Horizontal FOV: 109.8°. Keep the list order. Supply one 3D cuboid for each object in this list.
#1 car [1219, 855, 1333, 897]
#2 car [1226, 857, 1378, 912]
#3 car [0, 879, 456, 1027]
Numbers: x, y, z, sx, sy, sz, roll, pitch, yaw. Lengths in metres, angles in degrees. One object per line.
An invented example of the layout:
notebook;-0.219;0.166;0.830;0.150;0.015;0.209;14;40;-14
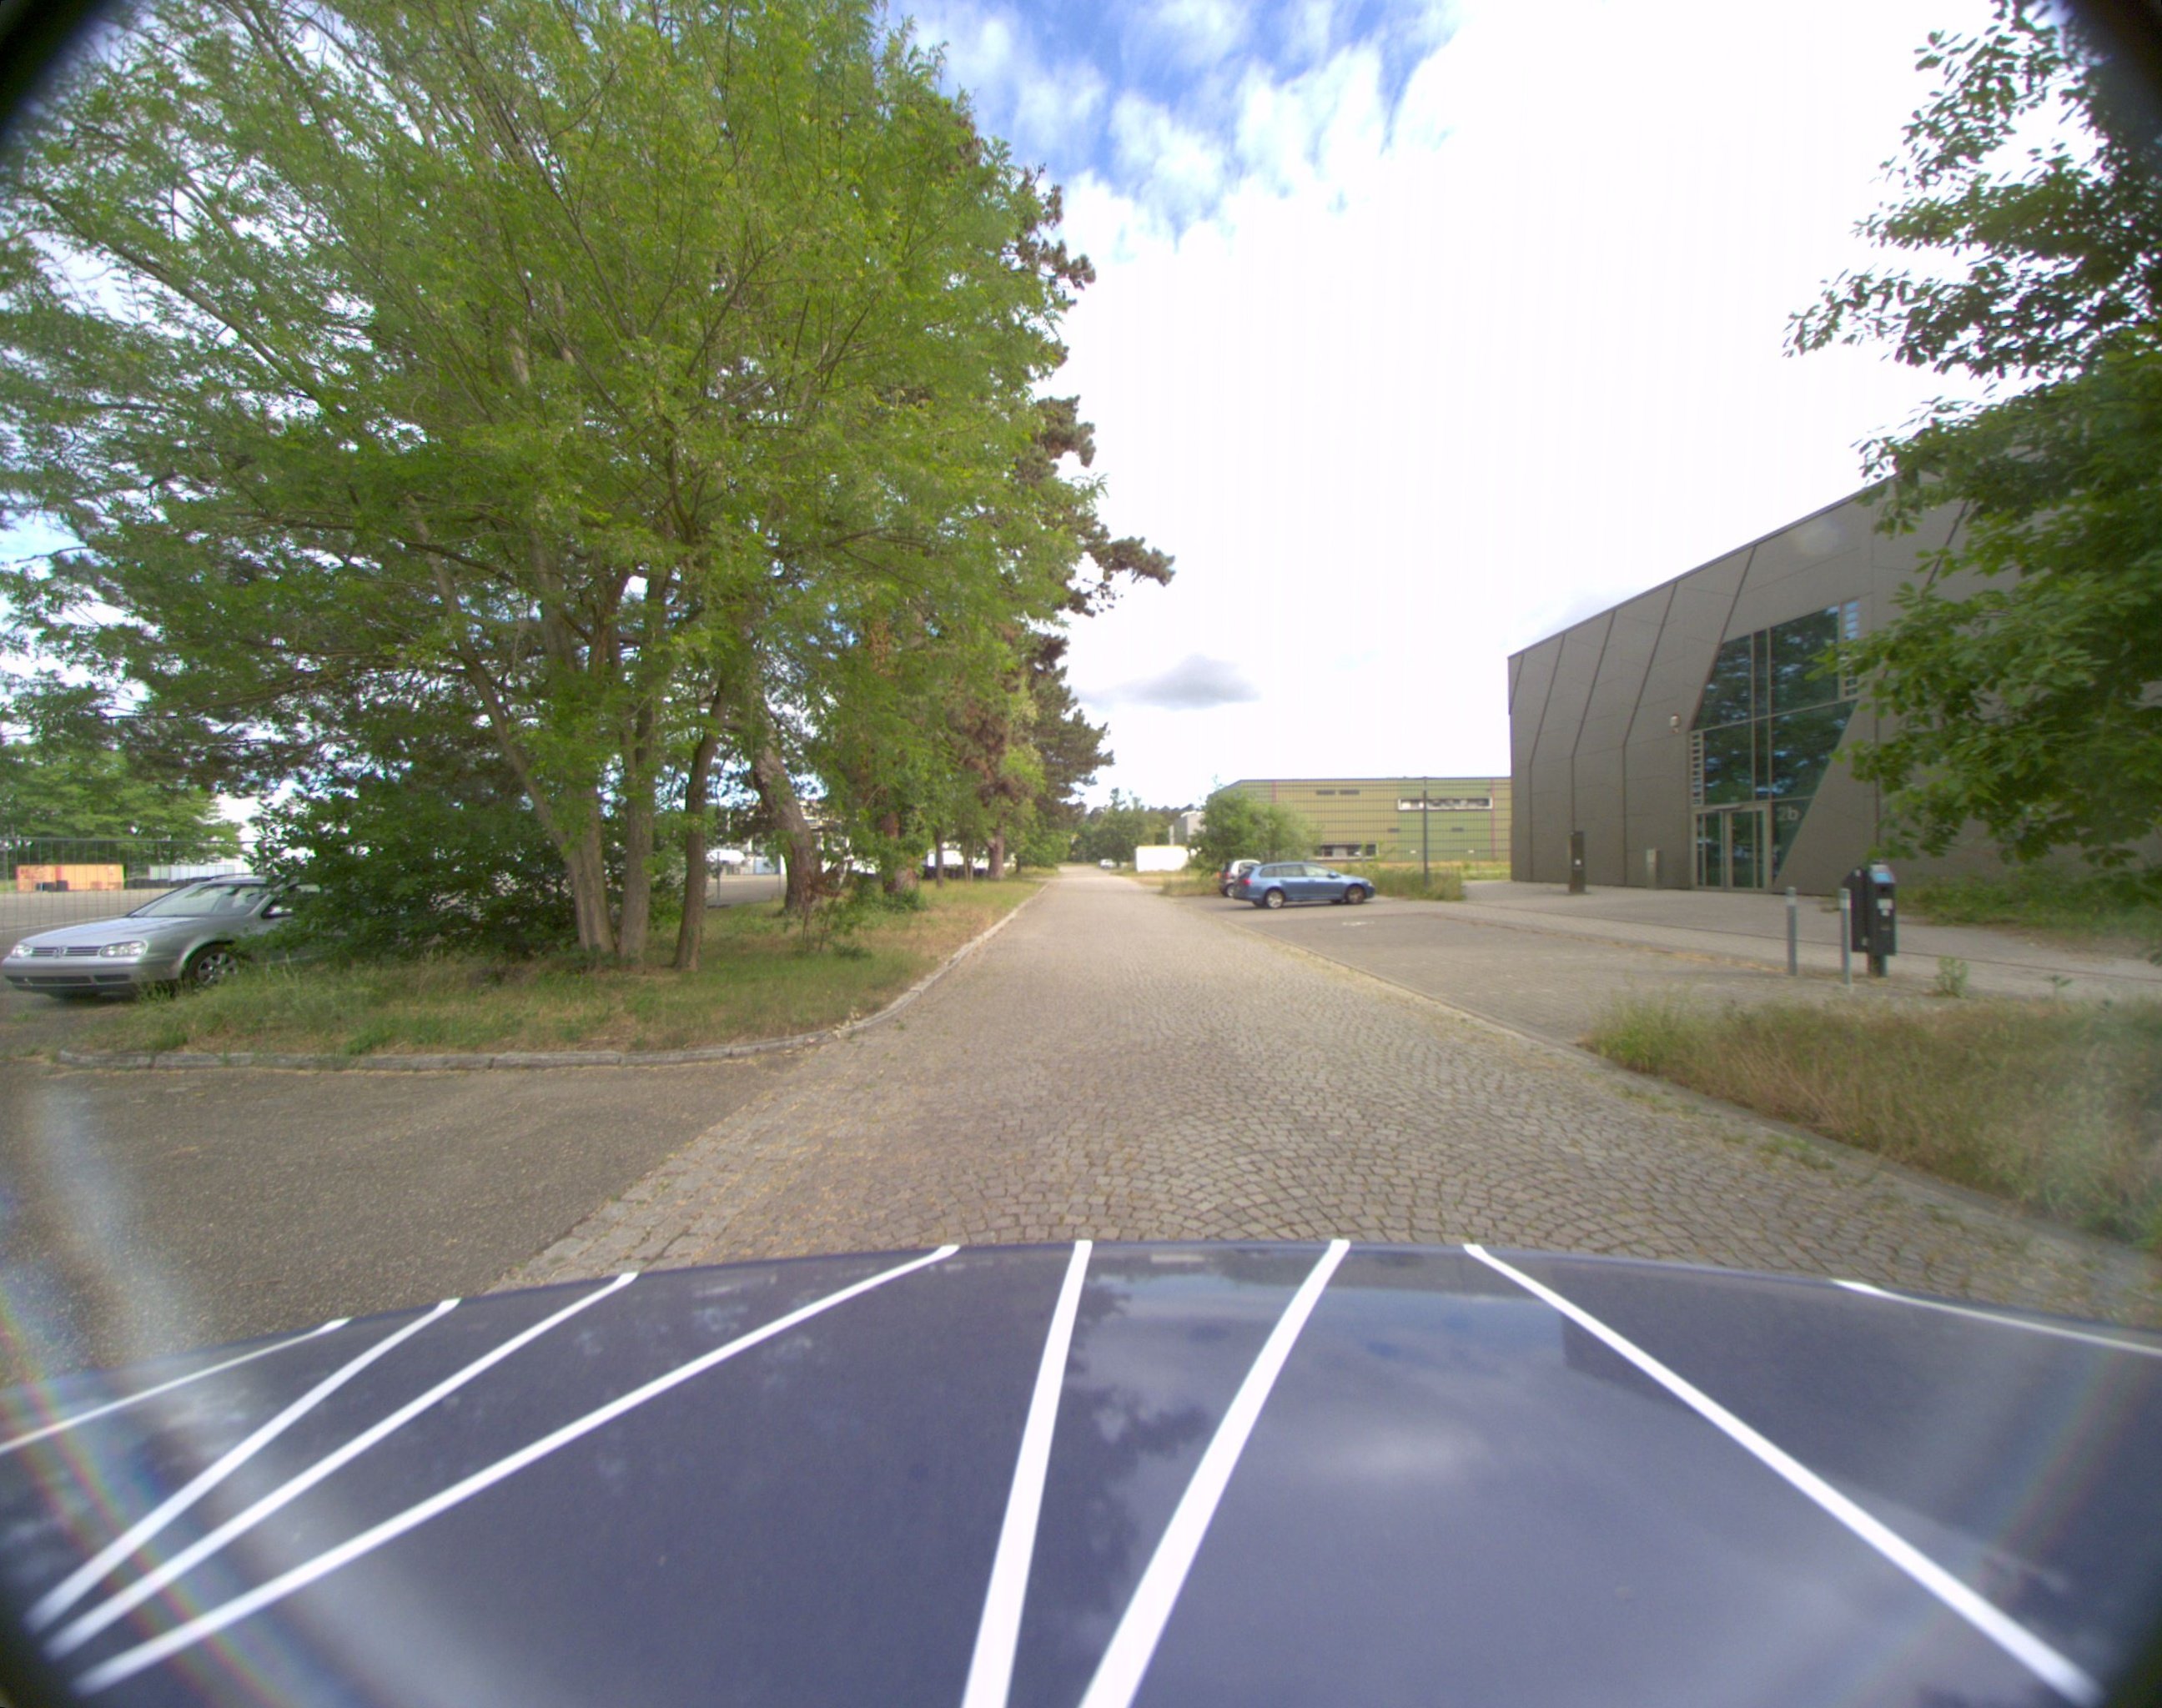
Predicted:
car;8.189;0.915;32.240;4.401;1.537;1.842;-3;0;6
car;7.188;0.967;24.943;4.404;1.501;1.716;-3;0;-3
car;-11.171;1.137;10.311;1.759;1.440;4.327;-1;0;1
